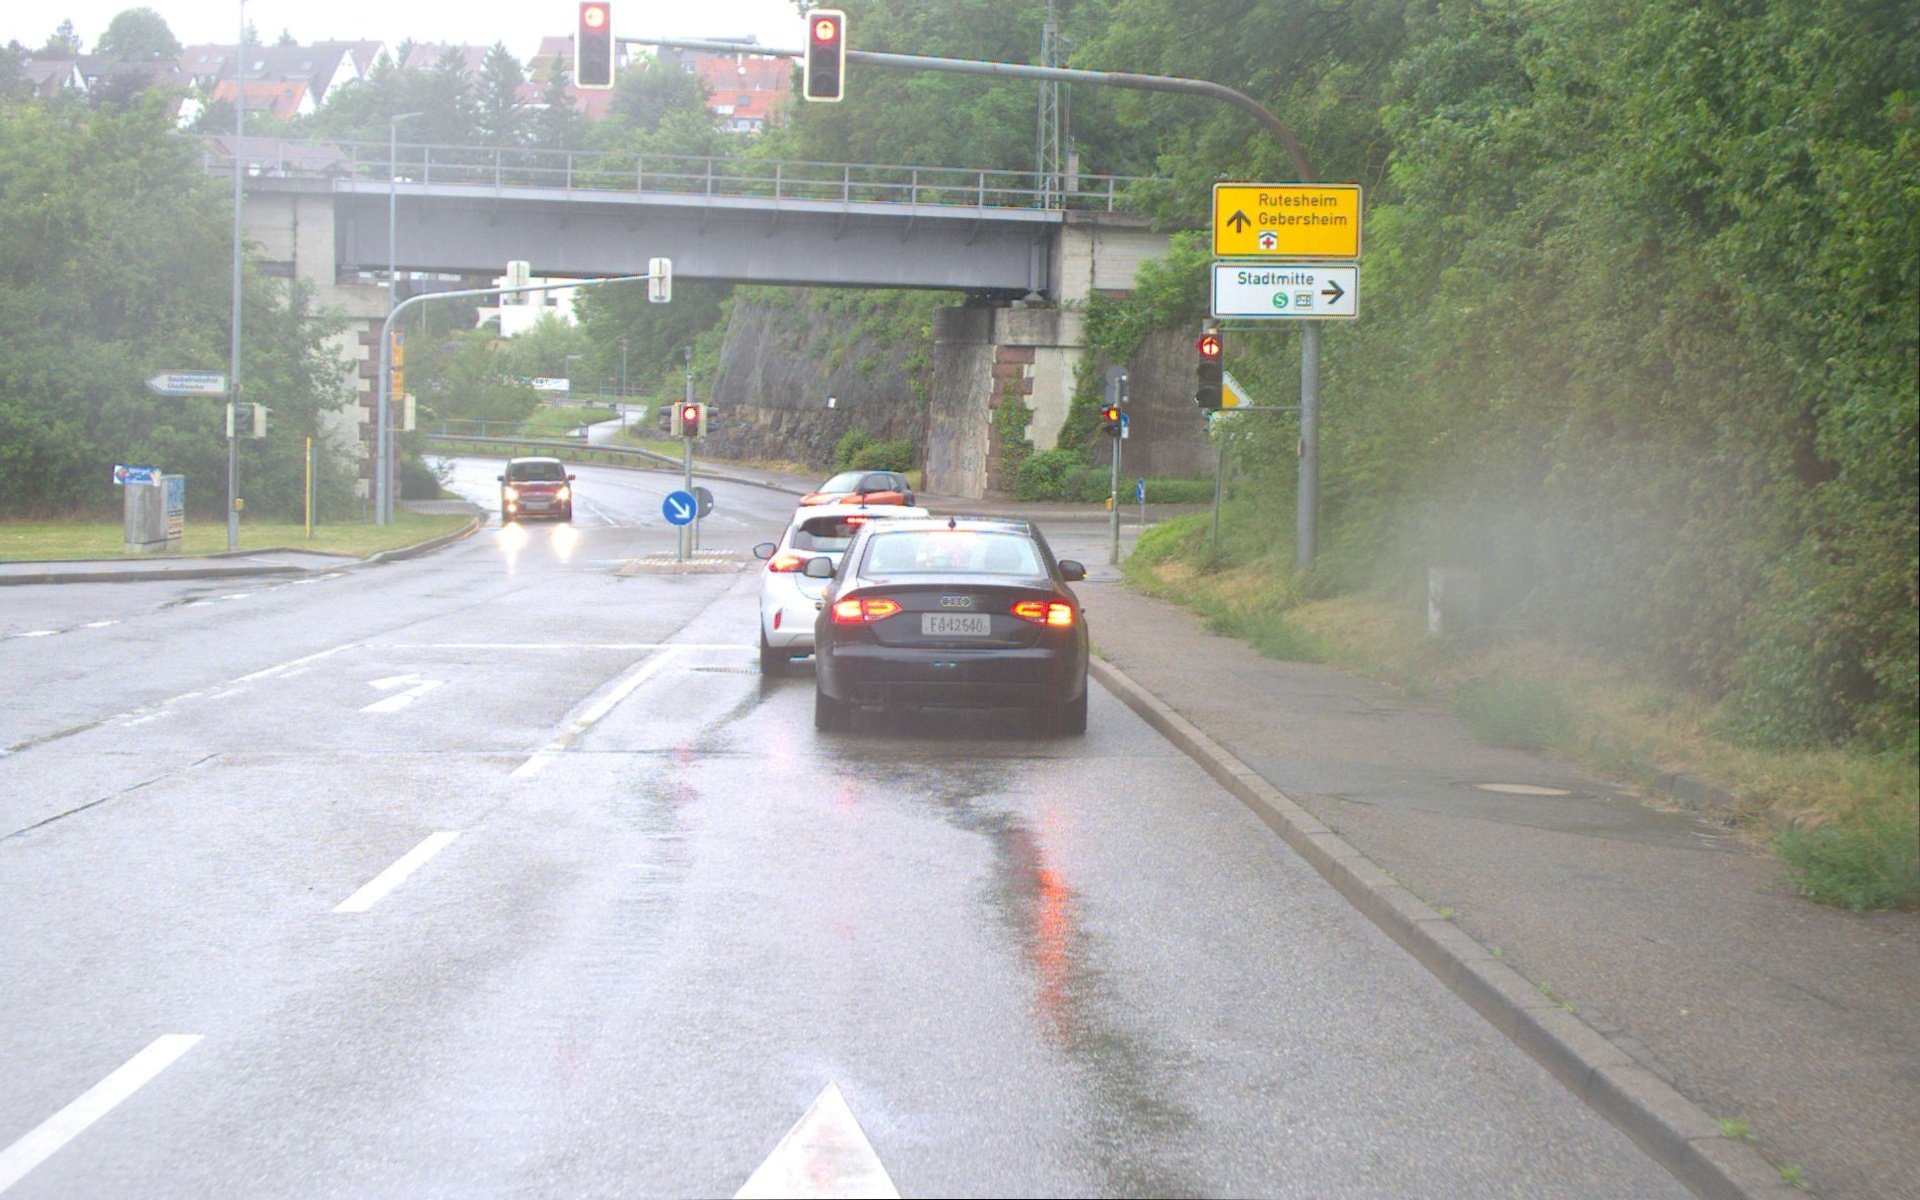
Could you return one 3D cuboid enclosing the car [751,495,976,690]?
[{"bbox_3d":[-0.825,-0.092,30.053,1.823,1.579,4.000,0,1,-1],"label":"car"}]

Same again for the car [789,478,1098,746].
[{"bbox_3d":[-0.136,0.015,23.327,1.870,1.611,4.001,2,2,-1],"label":"car"}]

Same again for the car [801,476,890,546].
[{"bbox_3d":[-2.628,-2.034,79.410,1.993,1.579,4.000,0,1,-1],"label":"car"}]

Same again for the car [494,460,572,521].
[{"bbox_3d":[-11.701,-2.998,94.026,1.993,1.622,4.001,-1,2,-9],"label":"car"}]
